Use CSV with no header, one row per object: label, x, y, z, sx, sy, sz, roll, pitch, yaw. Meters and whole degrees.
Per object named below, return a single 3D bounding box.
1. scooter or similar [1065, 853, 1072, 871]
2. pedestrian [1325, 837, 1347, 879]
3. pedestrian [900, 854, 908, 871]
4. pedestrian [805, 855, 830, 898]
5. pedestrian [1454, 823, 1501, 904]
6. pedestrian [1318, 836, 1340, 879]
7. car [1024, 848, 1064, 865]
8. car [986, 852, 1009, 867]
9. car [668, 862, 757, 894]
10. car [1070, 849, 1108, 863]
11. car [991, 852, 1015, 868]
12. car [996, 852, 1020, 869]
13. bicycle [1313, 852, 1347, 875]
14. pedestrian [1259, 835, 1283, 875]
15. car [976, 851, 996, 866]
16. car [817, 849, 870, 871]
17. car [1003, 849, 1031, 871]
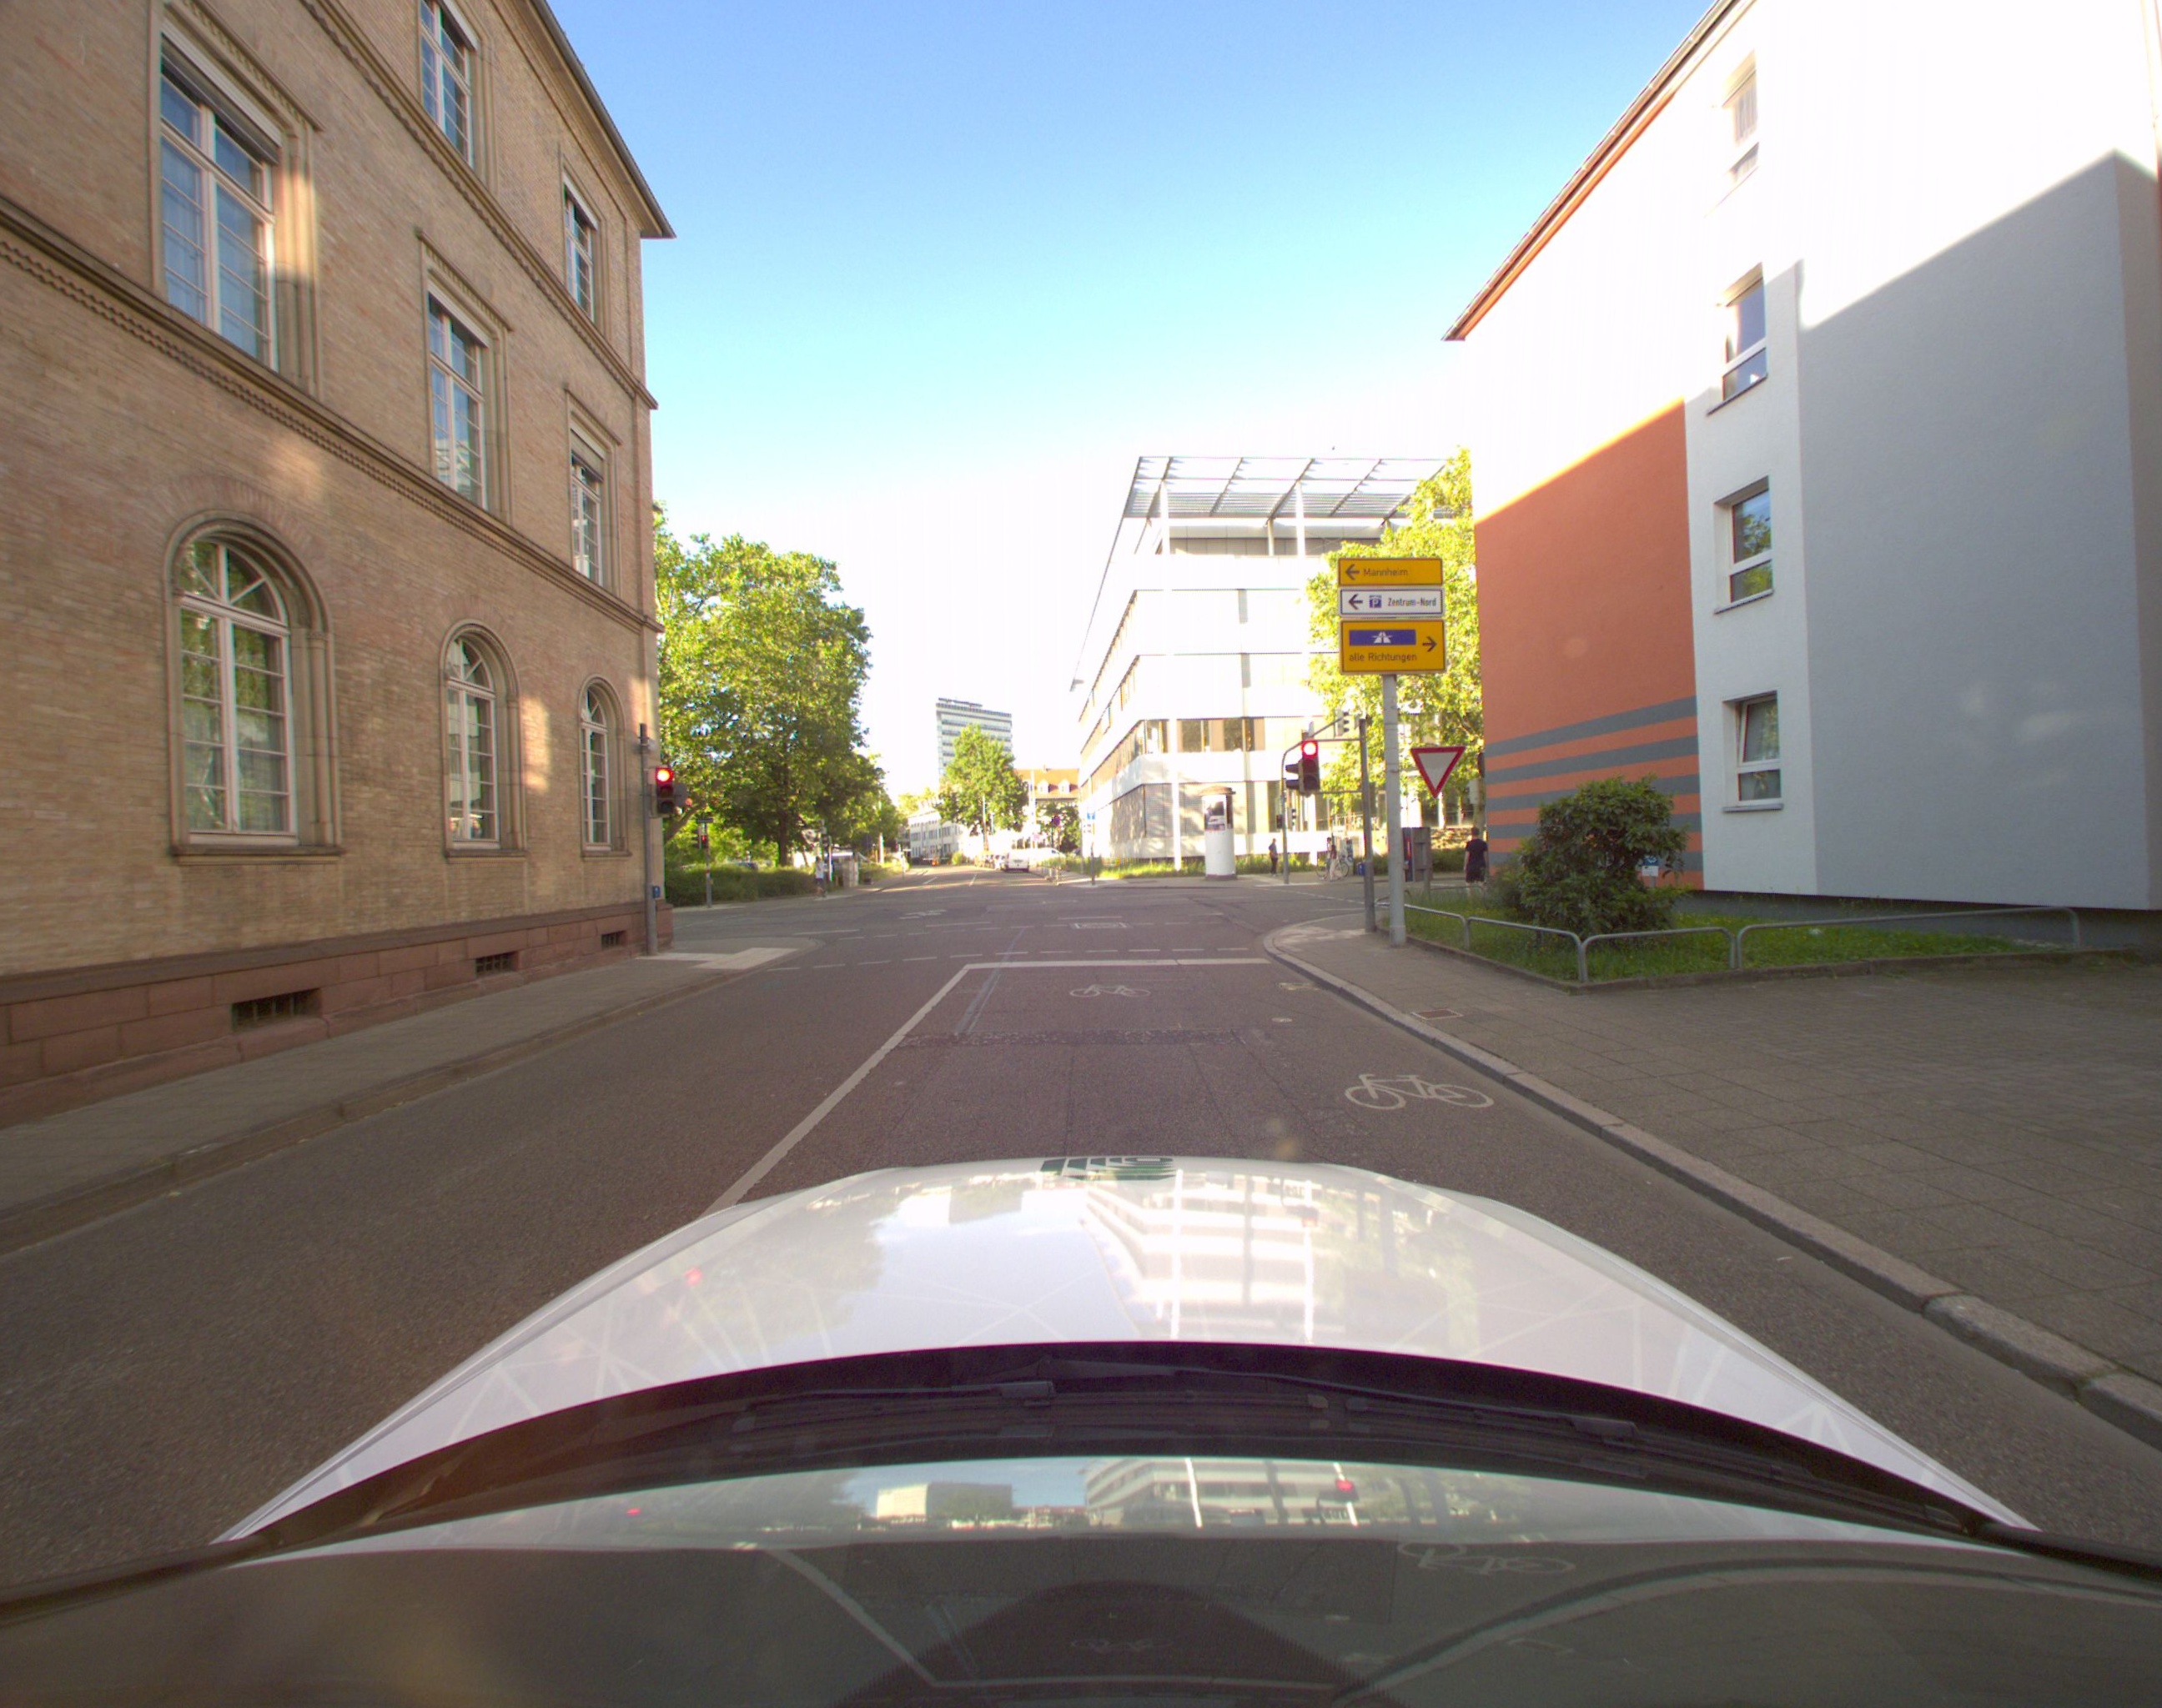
scooter or similar,-0.910,0.586,58.474,0.436,1.256,1.418,-2,0,-2
pedestrian,10.635,0.167,33.955,0.761,1.719,0.648,0,-1,4
pedestrian,-16.632,0.815,76.615,0.700,1.587,0.633,0,-1,-14
pedestrian,-11.658,0.979,36.047,0.920,1.869,0.735,0,-1,-34
pedestrian,9.016,0.214,18.515,0.723,1.810,0.693,0,-1,-39
pedestrian,10.564,0.156,34.689,0.761,1.795,0.648,0,-1,5
car,-4.681,0.280,103.248,4.802,2.159,1.989,0,-1,-16
car,-8.882,0.598,86.378,1.994,1.499,4.635,0,-1,-10
car,-17.080,1.100,37.901,3.407,1.457,1.646,0,-1,-8
car,1.024,0.262,104.955,4.644,1.725,1.990,0,-1,-15
car,-7.840,0.592,81.625,1.994,1.499,4.270,0,-1,-11
car,-6.918,0.615,77.152,1.993,1.499,4.638,0,-1,-8
bicycle,11.010,0.428,36.026,0.381,1.008,1.416,-2,0,-40
pedestrian,8.881,0.046,38.082,0.905,1.815,0.767,-1,-1,28
car,-11.299,0.545,96.302,1.995,1.725,4.633,0,-1,-11
car,-22.022,0.537,75.767,4.441,2.014,1.995,0,-1,-8
car,-5.169,0.474,65.117,1.992,1.725,4.640,0,-1,-7
